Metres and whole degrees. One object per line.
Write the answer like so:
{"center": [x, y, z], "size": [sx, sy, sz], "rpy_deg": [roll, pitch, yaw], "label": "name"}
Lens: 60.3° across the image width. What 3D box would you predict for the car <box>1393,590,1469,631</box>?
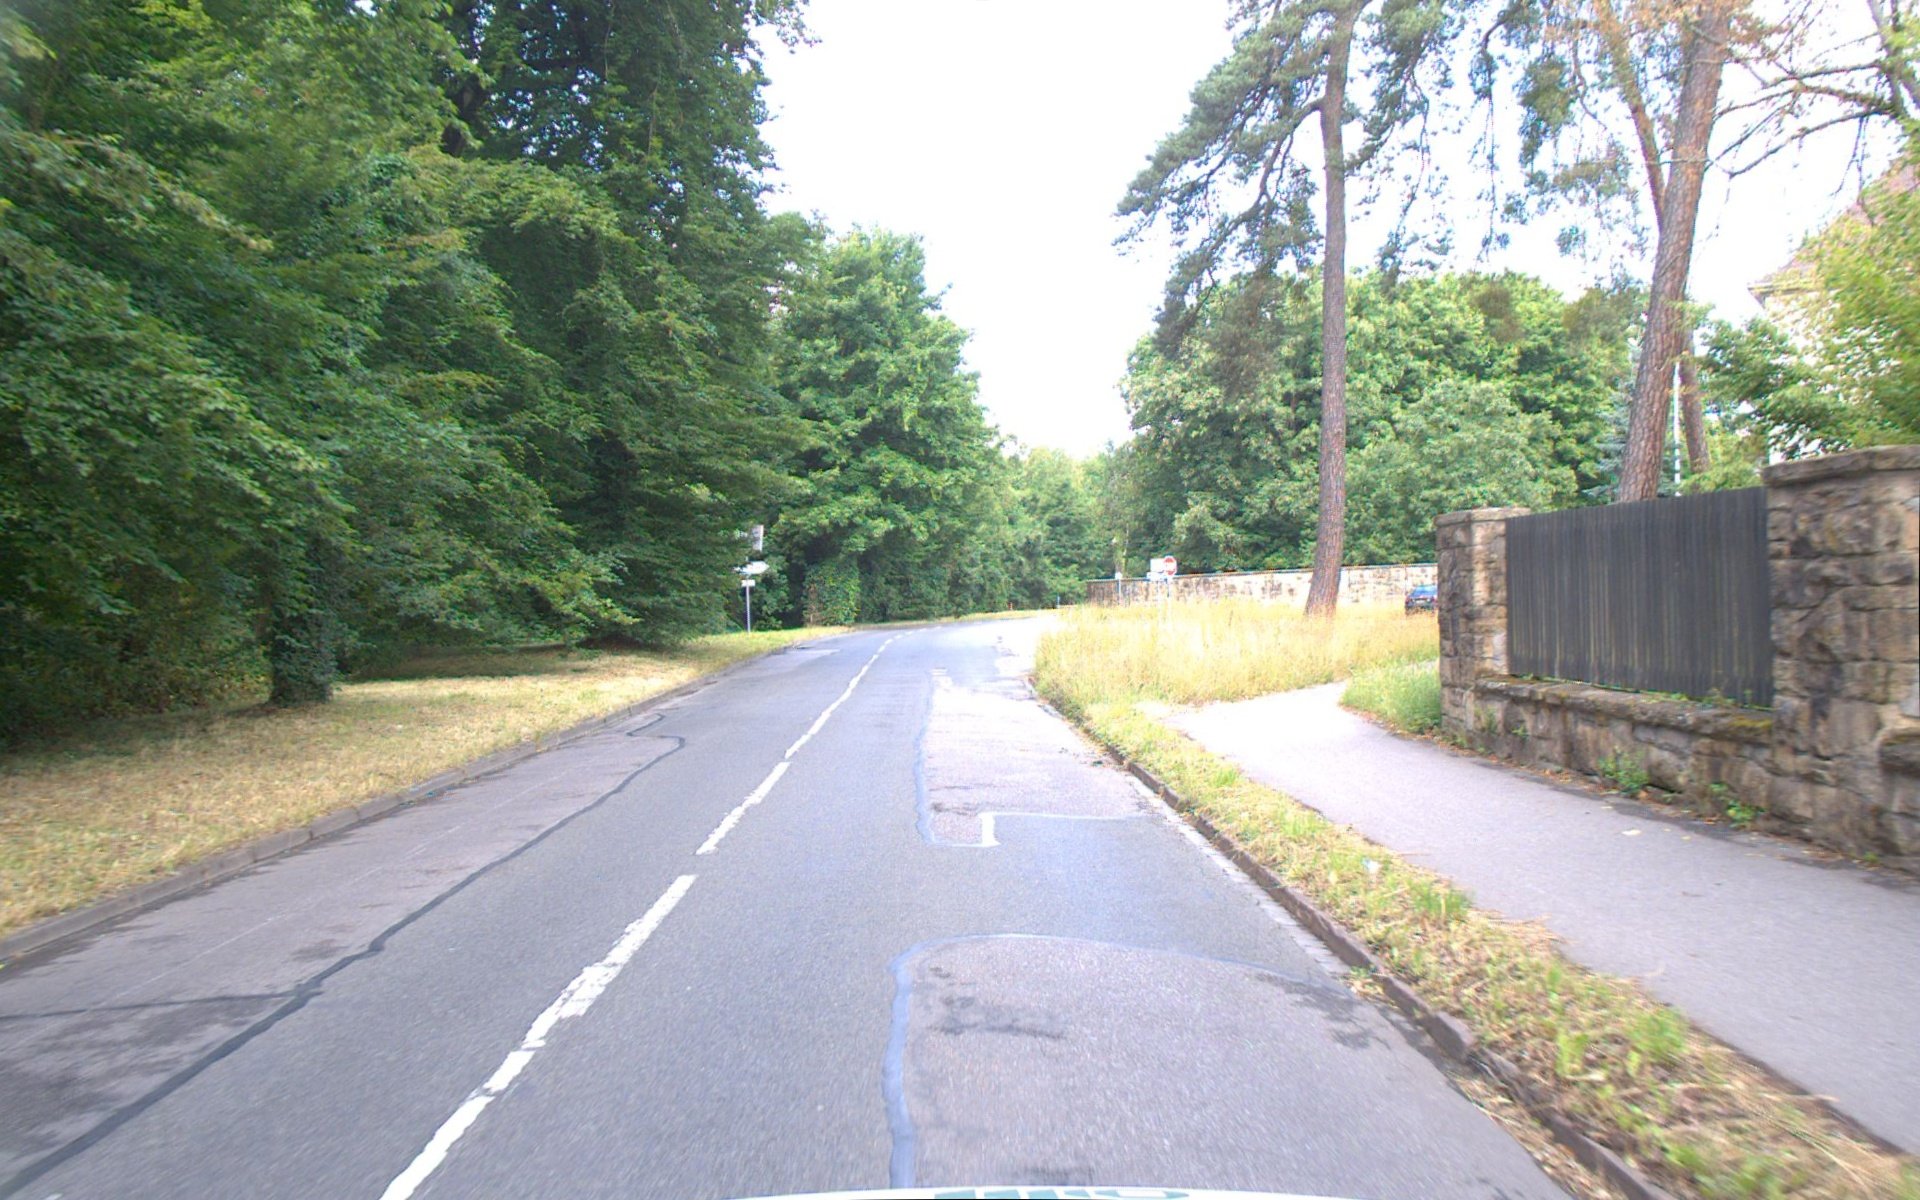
{"center": [19.675, 0.412, 69.031], "size": [1.841, 1.466, 3.987], "rpy_deg": [-2, 1, 35], "label": "car"}
